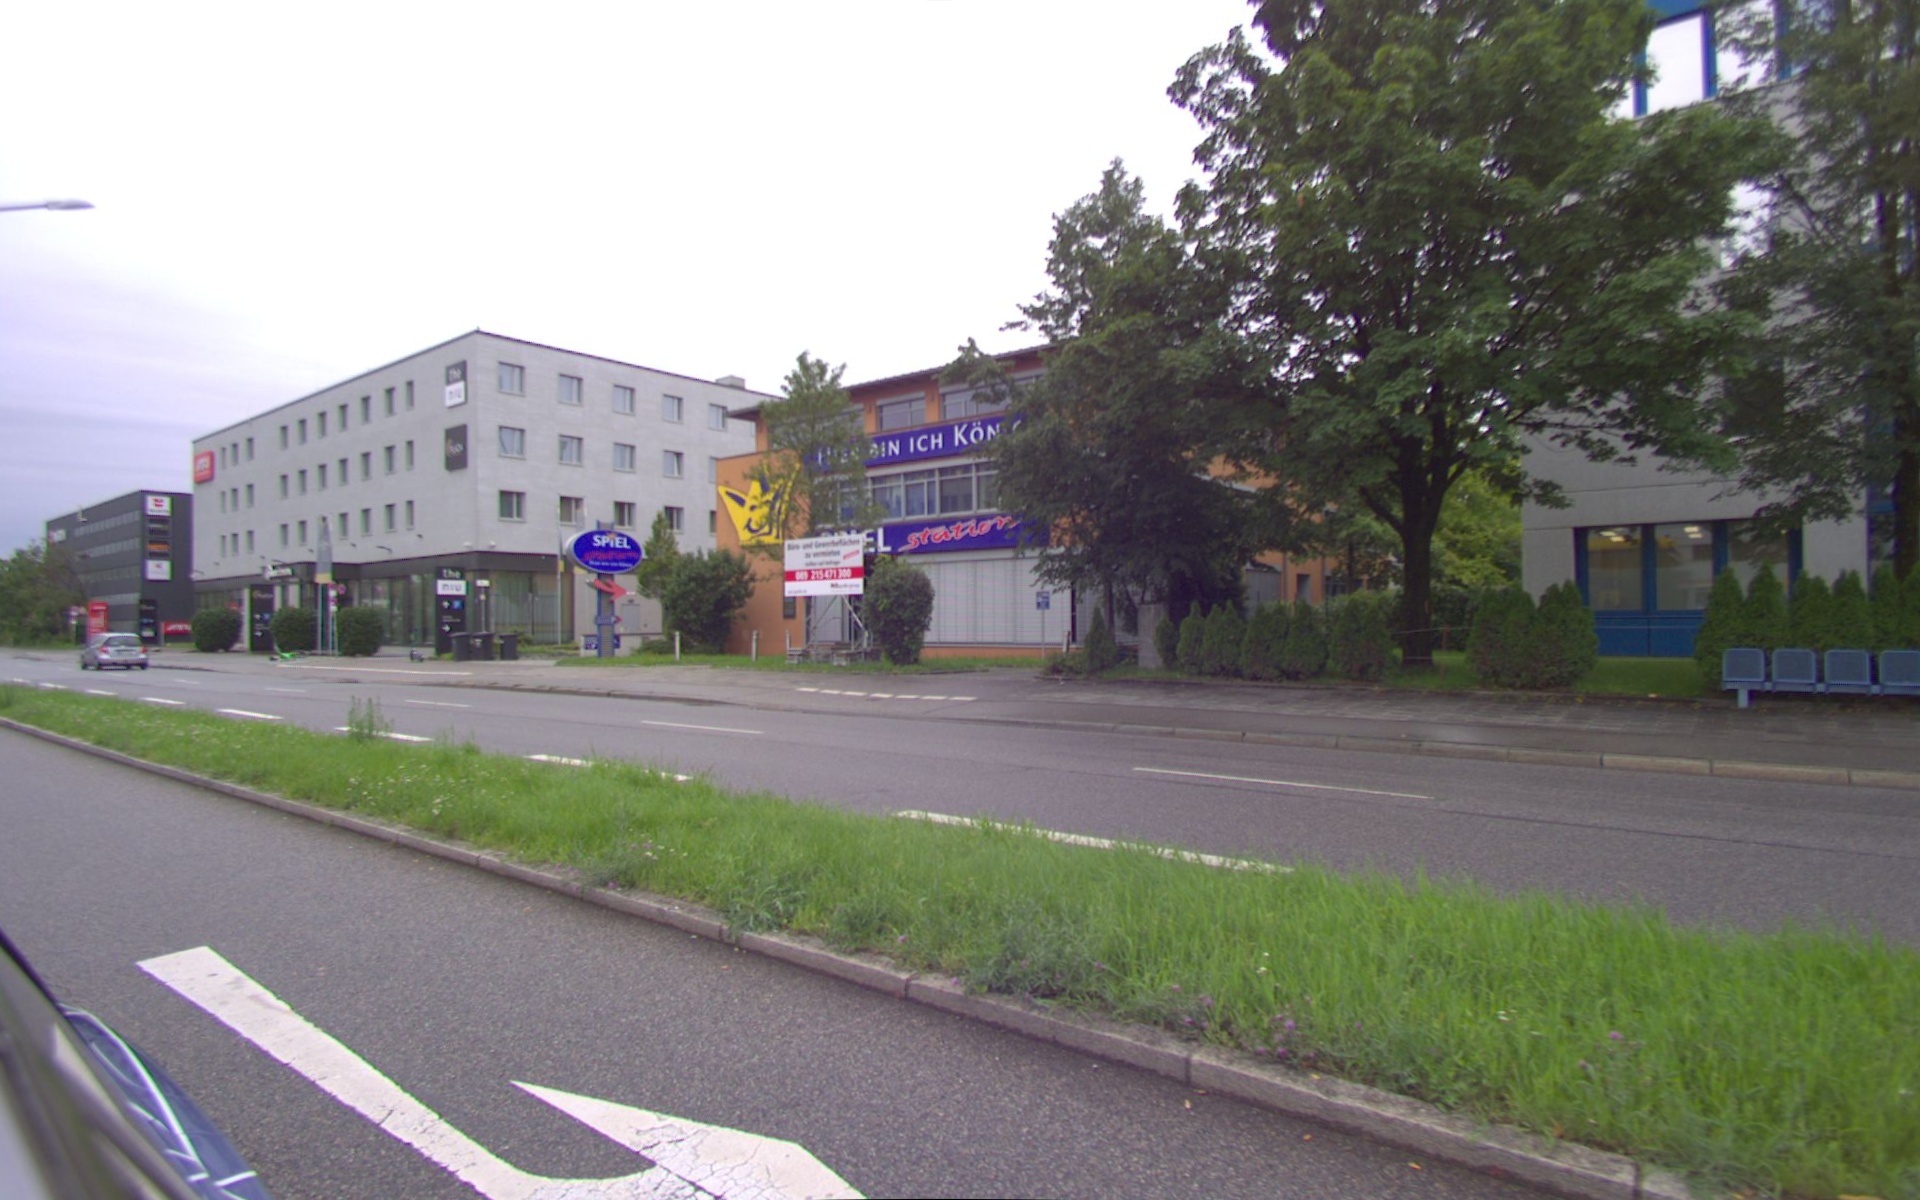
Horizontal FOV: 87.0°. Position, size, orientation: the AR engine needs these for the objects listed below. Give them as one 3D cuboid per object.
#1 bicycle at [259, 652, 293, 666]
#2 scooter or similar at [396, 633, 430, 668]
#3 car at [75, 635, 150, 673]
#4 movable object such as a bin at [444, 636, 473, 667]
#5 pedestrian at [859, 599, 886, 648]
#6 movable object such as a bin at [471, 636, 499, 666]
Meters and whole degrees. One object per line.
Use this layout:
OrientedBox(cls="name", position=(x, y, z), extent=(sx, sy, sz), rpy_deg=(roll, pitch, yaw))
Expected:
OrientedBox(cls="bicycle", position=(-29.959, 2.571, 44.312), extent=(1.730, 0.553, 0.713), rpy_deg=(-2, 2, 38))
OrientedBox(cls="scooter or similar", position=(-20.935, 1.930, 38.716), extent=(1.402, 1.287, 0.580), rpy_deg=(-2, 3, 39))
OrientedBox(cls="car", position=(-36.840, 2.301, 43.978), extent=(4.023, 1.569, 1.796), rpy_deg=(-2, -3, 40))
OrientedBox(cls="movable object such as a bin", position=(-18.737, 1.915, 37.812), extent=(0.654, 1.086, 0.730), rpy_deg=(-2, -1, 39))
OrientedBox(cls="pedestrian", position=(-3.137, 0.834, 36.126), extent=(0.662, 1.725, 0.651), rpy_deg=(-2, -1, 40))
OrientedBox(cls="movable object such as a bin", position=(-17.789, 1.889, 37.914), extent=(0.654, 1.086, 0.730), rpy_deg=(-2, -1, 39))
